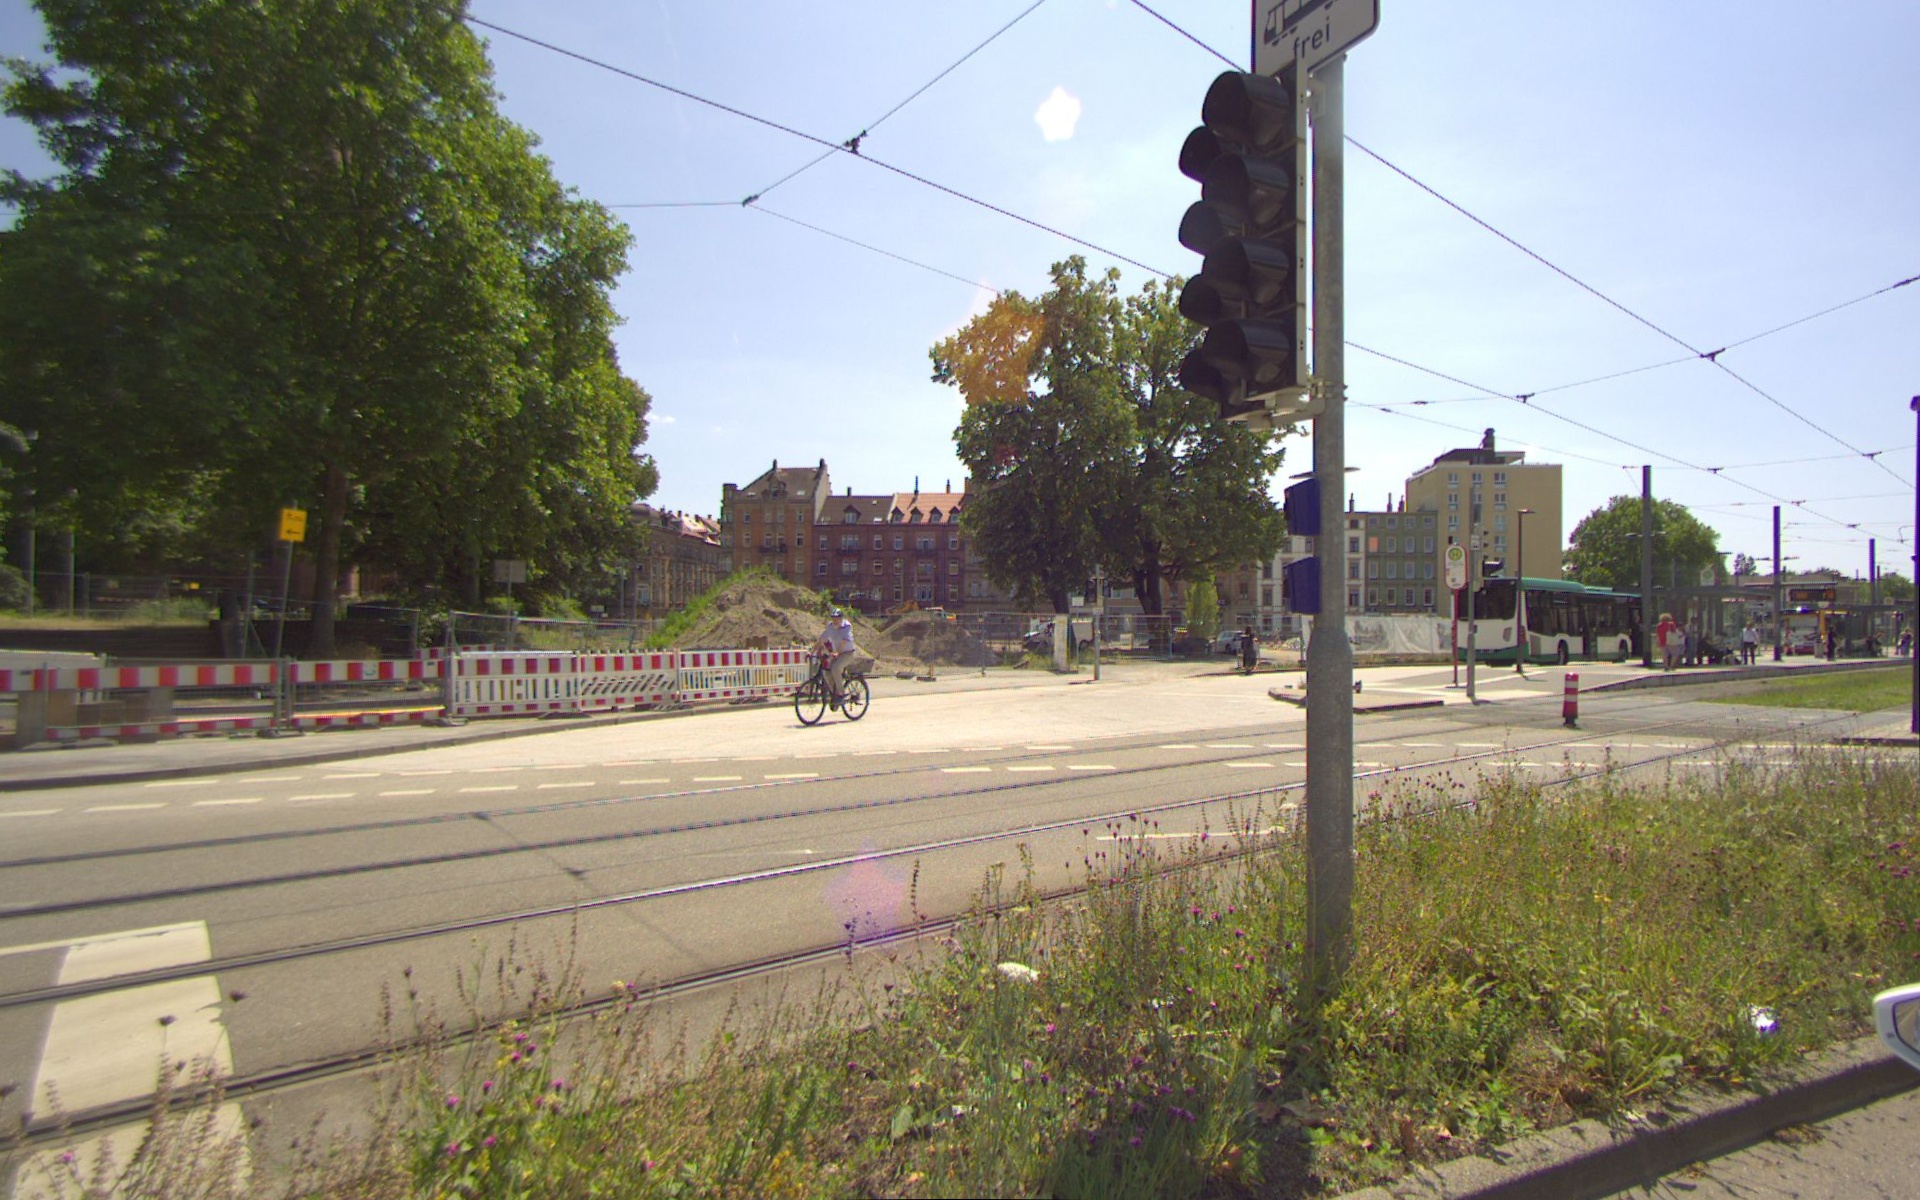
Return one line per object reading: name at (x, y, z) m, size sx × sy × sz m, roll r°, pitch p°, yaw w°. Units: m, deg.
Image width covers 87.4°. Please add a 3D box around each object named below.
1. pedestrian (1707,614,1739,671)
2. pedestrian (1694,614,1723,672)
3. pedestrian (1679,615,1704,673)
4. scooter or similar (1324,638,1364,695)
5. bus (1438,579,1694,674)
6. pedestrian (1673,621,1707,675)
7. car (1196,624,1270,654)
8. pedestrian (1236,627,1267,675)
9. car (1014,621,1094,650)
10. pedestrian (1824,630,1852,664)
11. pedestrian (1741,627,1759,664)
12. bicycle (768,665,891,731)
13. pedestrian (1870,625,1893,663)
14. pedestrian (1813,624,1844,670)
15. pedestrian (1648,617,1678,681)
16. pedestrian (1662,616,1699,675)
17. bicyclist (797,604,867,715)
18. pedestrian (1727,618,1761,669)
pedestrian at (28.844, 1.605, 37.968) m, size 0.888 × 2.124 × 0.827 m, roll -1°, pitch -2°, yaw 40°
pedestrian at (28.020, 1.612, 37.580) m, size 0.814 × 2.124 × 0.638 m, roll -1°, pitch -2°, yaw 40°
pedestrian at (27.068, 1.630, 37.165) m, size 0.691 × 2.124 × 0.642 m, roll -1°, pitch -2°, yaw 40°
scooter or similar at (8.463, 1.448, 22.122) m, size 1.240 × 1.222 × 0.315 m, roll 2°, pitch -2°, yaw -44°
bus at (24.933, 1.129, 40.446) m, size 17.344 × 3.199 × 2.987 m, roll 2°, pitch -2°, yaw -39°
pedestrian at (26.063, 1.710, 35.843) m, size 0.901 × 1.876 × 0.654 m, roll -1°, pitch -2°, yaw 42°
car at (15.712, 2.218, 58.000) m, size 1.827 × 1.671 × 4.169 m, roll 1°, pitch -2°, yaw -26°
pedestrian at (9.928, 1.717, 34.223) m, size 0.815 × 1.623 × 0.603 m, roll 1°, pitch -1°, yaw -29°
car at (6.310, 2.368, 67.471) m, size 4.959 × 1.909 × 2.110 m, roll 1°, pitch -2°, yaw -19°
pedestrian at (47.875, 2.563, 54.777) m, size 0.956 × 1.859 × 0.776 m, roll -1°, pitch -2°, yaw 27°
pedestrian at (46.679, 2.668, 59.347) m, size 0.694 × 2.139 × 0.656 m, roll -1°, pitch -2°, yaw 27°
bicycle at (-2.063, 1.549, 16.243) m, size 0.497 × 0.926 × 2.362 m, roll -1°, pitch -2°, yaw 36°
pedestrian at (52.184, 2.476, 56.906) m, size 0.894 × 2.124 × 0.822 m, roll 1°, pitch -2°, yaw -39°
pedestrian at (40.320, 2.163, 46.650) m, size 0.823 × 2.124 × 0.894 m, roll 1°, pitch -2°, yaw -34°
pedestrian at (21.536, 1.504, 30.788) m, size 0.665 × 1.934 × 0.637 m, roll -1°, pitch -2°, yaw 42°
pedestrian at (24.988, 1.570, 34.831) m, size 0.931 × 2.016 × 1.023 m, roll -1°, pitch -2°, yaw 42°
bicyclist at (-2.067, 0.944, 16.254) m, size 0.810 × 1.732 × 0.768 m, roll -1°, pitch -2°, yaw 36°
pedestrian at (33.018, 1.817, 42.319) m, size 0.823 × 2.124 × 0.894 m, roll 1°, pitch -2°, yaw -34°
